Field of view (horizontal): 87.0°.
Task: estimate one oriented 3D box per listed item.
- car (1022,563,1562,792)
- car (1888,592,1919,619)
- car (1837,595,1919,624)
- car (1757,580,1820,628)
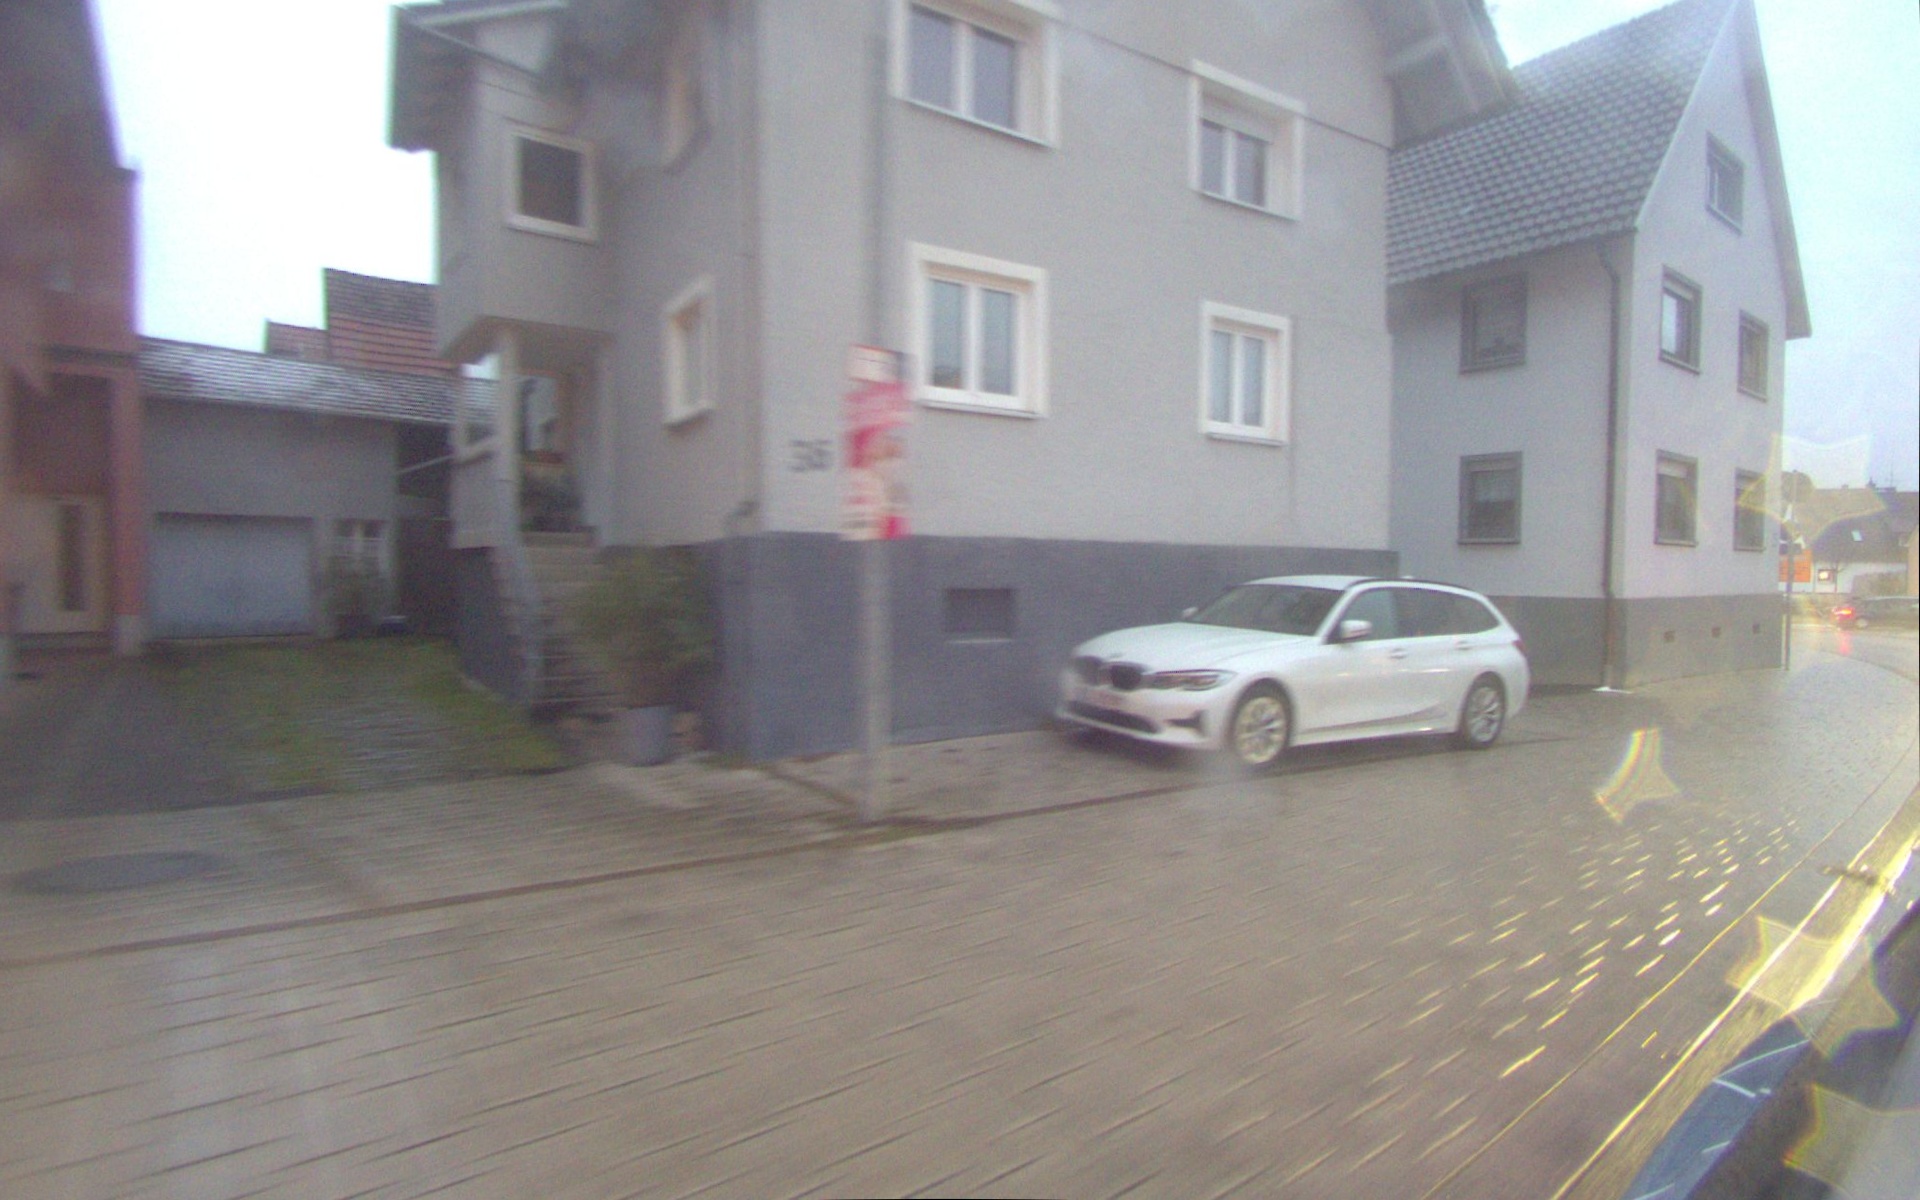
[{"bbox_3d":[2.963,0.499,8.691,4.604,1.504,1.937,0,0,-32],"label":"car"},{"bbox_3d":[48.193,0.266,49.207,4.212,1.315,1.978,0,0,31],"label":"car"},{"bbox_3d":[43.662,0.426,47.043,3.956,1.315,1.984,0,0,24],"label":"car"},{"bbox_3d":[36.993,0.162,45.291,1.988,2.039,3.947,0,0,37],"label":"car"}]
